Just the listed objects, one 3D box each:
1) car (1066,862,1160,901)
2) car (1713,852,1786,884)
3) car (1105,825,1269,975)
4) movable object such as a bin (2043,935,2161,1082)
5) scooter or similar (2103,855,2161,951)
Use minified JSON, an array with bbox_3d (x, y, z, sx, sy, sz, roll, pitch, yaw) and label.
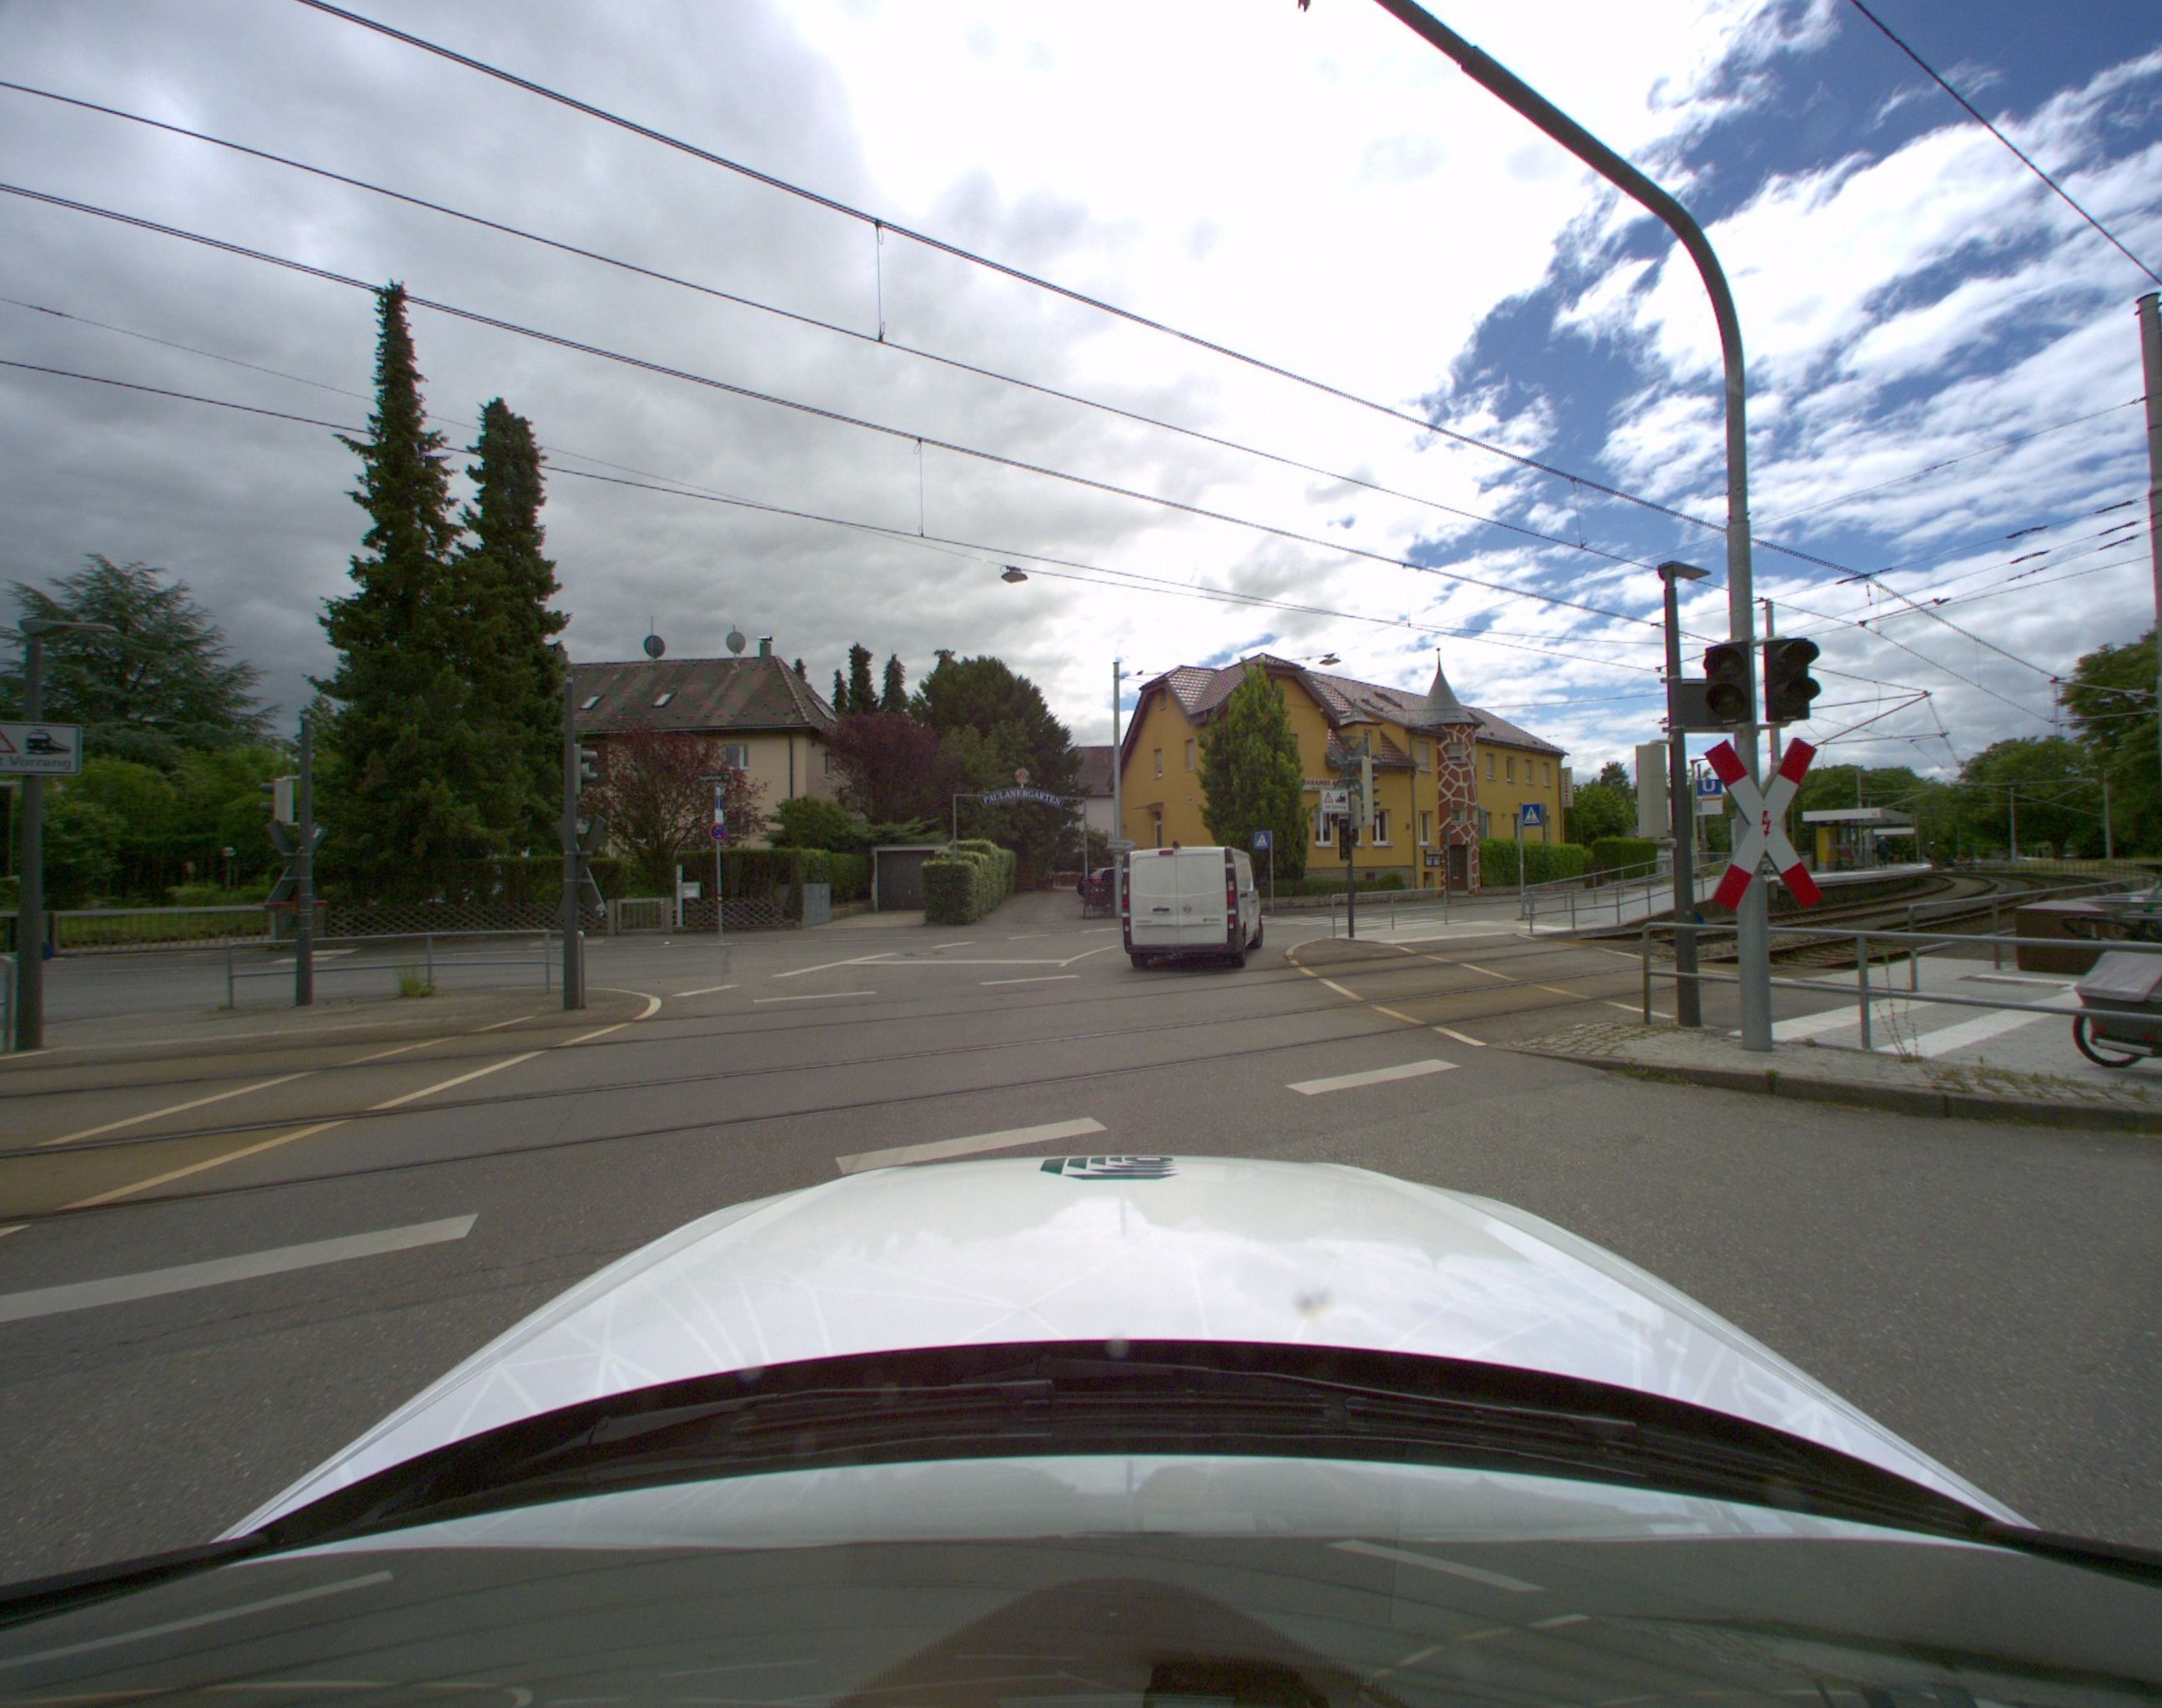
[{"bbox_3d":[1.386,1.146,34.911,3.692,1.427,1.710,-2,2,-32],"label":"car"},{"bbox_3d":[34.508,0.718,41.993,4.396,1.564,2.334,1,-1,-43],"label":"car"},{"bbox_3d":[2.126,0.678,14.494,2.101,2.134,5.463,-1,-1,16],"label":"car"},{"bbox_3d":[7.045,0.962,5.234,1.089,0.824,0.578,-1,-1,-5],"label":"movable object such as a bin"},{"bbox_3d":[15.148,0.674,11.328,0.491,1.316,1.041,-2,-1,-29],"label":"scooter or similar"}]
